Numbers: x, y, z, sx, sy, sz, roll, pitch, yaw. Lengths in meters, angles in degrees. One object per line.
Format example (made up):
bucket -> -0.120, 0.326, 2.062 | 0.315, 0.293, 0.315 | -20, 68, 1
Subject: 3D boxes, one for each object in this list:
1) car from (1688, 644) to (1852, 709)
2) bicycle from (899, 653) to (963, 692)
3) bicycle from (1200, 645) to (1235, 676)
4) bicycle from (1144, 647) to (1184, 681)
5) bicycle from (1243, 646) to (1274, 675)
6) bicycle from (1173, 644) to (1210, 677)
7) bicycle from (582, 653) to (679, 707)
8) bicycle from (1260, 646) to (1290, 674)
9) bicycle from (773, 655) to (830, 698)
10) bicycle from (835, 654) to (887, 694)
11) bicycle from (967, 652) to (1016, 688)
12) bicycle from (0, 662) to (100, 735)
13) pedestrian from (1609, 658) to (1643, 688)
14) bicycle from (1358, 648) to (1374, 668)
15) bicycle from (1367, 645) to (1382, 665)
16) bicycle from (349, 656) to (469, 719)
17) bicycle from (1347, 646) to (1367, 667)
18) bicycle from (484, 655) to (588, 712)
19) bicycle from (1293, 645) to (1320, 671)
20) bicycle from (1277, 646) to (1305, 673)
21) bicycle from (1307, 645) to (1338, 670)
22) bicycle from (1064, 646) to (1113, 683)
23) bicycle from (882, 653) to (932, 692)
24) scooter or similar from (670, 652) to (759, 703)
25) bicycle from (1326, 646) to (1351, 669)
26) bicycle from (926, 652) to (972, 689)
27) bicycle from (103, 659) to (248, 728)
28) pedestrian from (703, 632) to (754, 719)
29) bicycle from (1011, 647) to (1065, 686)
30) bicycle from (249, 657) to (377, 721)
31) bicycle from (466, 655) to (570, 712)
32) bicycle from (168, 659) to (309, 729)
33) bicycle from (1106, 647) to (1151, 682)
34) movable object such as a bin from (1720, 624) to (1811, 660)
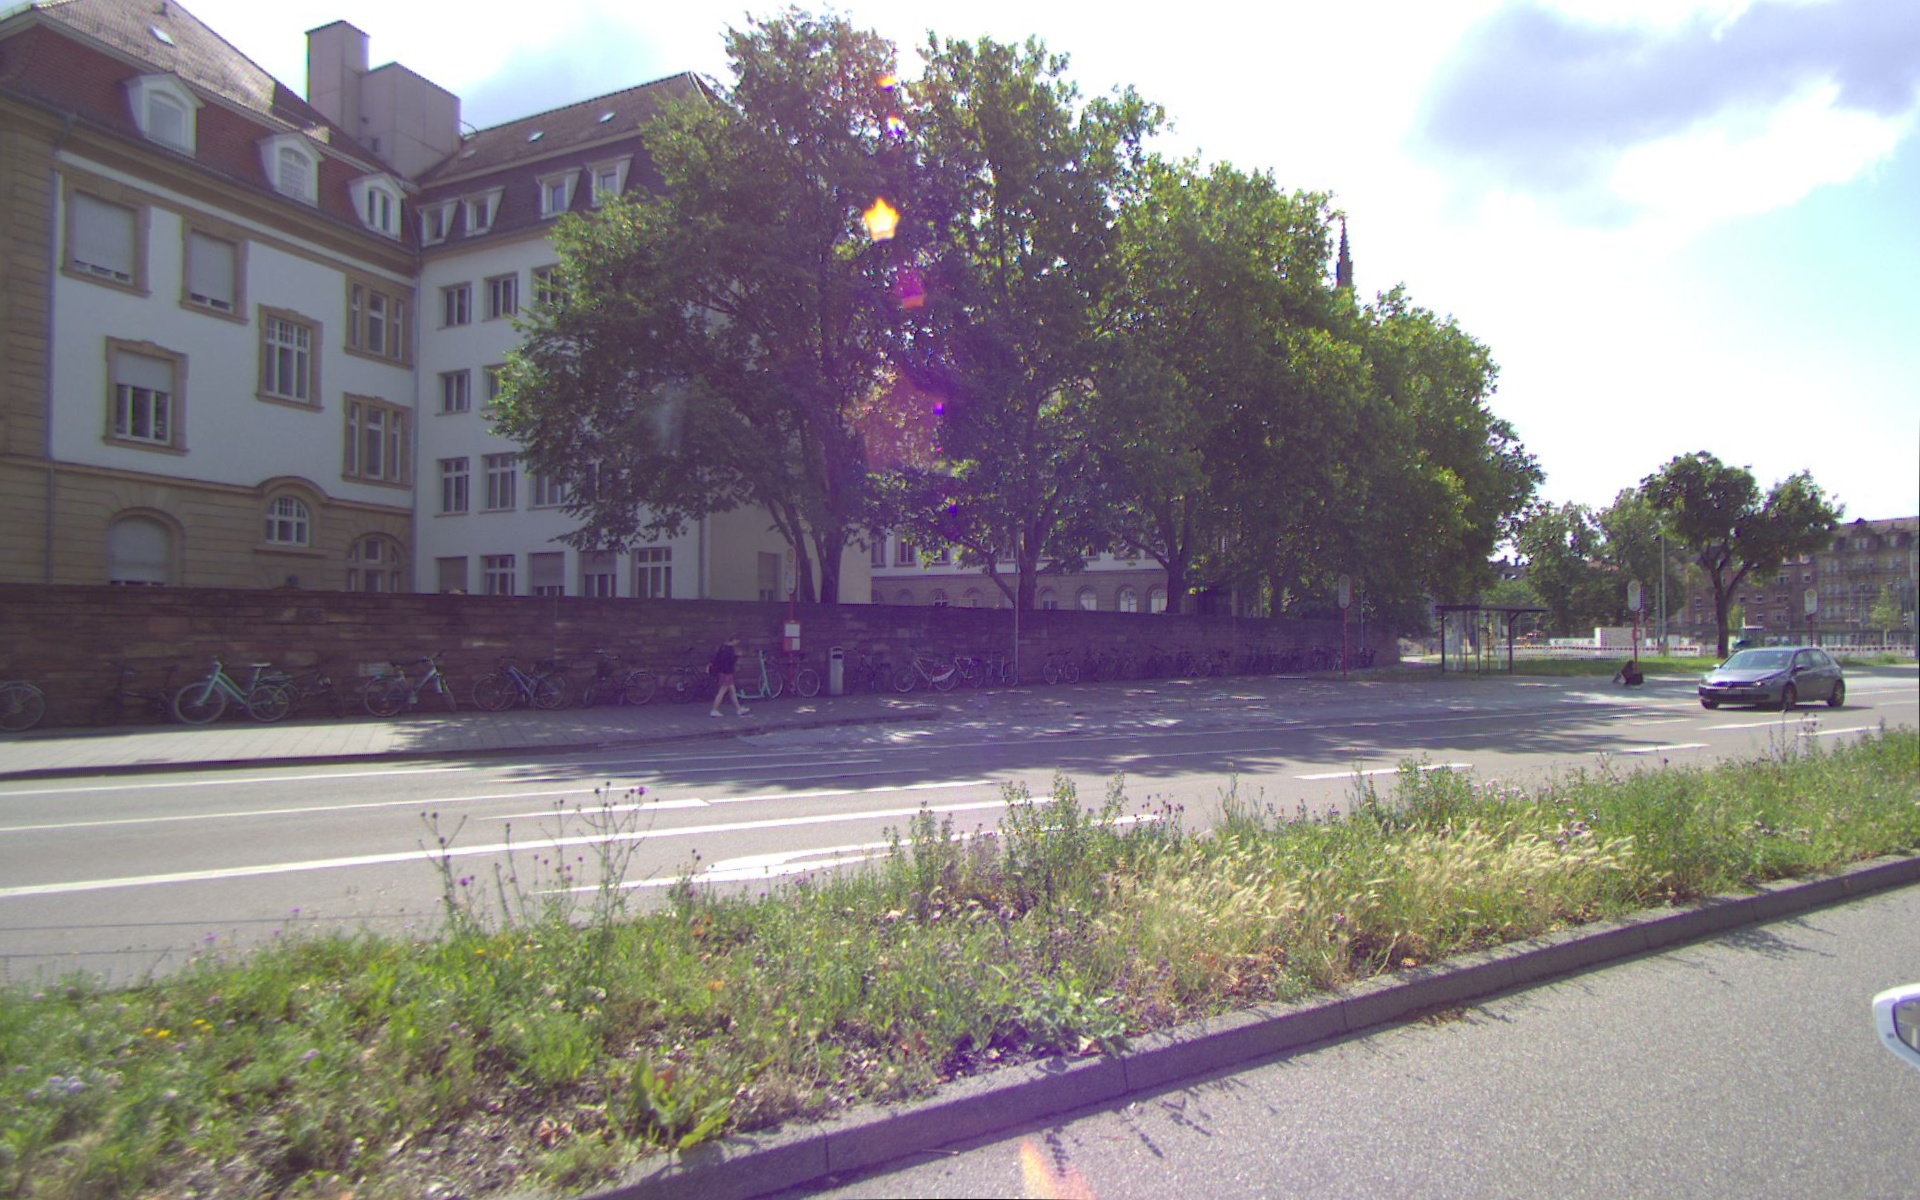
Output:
car -> 19.699, 1.811, 24.394 | 4.096, 1.463, 1.693 | 1, -3, -30
bicycle -> -0.737, 1.838, 25.625 | 1.600, 0.968, 0.366 | 1, -2, -21
bicycle -> 9.440, 2.206, 36.790 | 0.575, 1.087, 1.748 | -1, -2, 39
bicycle -> 6.901, 2.135, 33.885 | 0.575, 1.087, 1.748 | -1, -2, 39
bicycle -> 11.733, 2.376, 39.447 | 0.575, 1.087, 1.624 | -1, -2, 39
bicycle -> 8.138, 2.104, 35.266 | 0.575, 1.087, 1.748 | -1, -2, 39
bicycle -> -6.977, 1.679, 21.326 | 1.865, 1.062, 0.575 | 2, -2, -39
bicycle -> 12.791, 2.406, 40.745 | 0.575, 1.087, 1.624 | -1, -2, 39
bicycle -> -3.765, 1.804, 23.954 | 1.393, 0.968, 0.363 | 2, -2, -45
bicycle -> -2.470, 1.847, 25.216 | 1.393, 0.968, 0.363 | 2, -2, -45
bicycle -> 0.890, 1.944, 28.167 | 1.616, 0.968, 0.366 | 2, -2, -45
bicycle -> -14.488, 1.504, 15.446 | 1.865, 1.062, 0.560 | 2, -2, -39
pedestrian -> 22.439, 2.441, 33.854 | 0.734, 0.975, 0.691 | 1, -1, -30
bicycle -> 20.899, 2.986, 51.690 | 0.386, 1.024, 1.363 | -1, -2, 40
bicycle -> 21.826, 2.875, 52.912 | 0.348, 1.024, 1.249 | -1, -2, 40
bicycle -> -10.174, 1.592, 18.598 | 0.584, 1.062, 1.875 | -1, -2, 36
bicycle -> 19.873, 2.816, 50.268 | 0.465, 1.024, 1.449 | -1, -2, 40
bicycle -> -8.363, 1.635, 19.857 | 1.865, 1.062, 0.370 | 2, -2, -39
bicycle -> 15.050, 2.515, 43.612 | 0.575, 1.087, 1.624 | -1, -2, 39
bicycle -> 13.858, 2.475, 42.069 | 0.575, 1.087, 1.624 | -1, -2, 39
bicycle -> 16.288, 2.571, 45.104 | 0.576, 1.087, 1.859 | -1, -2, 44
bicycle -> 3.987, 1.991, 31.054 | 1.744, 1.087, 0.576 | 2, -2, -45
bicycle -> -1.370, 1.878, 26.156 | 1.393, 0.968, 0.363 | 2, -2, -45
scooter or similar -> -5.491, 1.719, 22.517 | 1.865, 1.062, 0.575 | 2, -2, -39
bicycle -> 17.828, 2.690, 47.277 | 0.465, 1.024, 1.955 | -1, -2, 40
bicycle -> -0.284, 1.890, 27.146 | 1.393, 0.968, 0.363 | 2, -2, -45
bicycle -> -12.977, 1.521, 16.674 | 1.865, 1.062, 0.367 | 2, -2, -39
pedestrian -> -4.487, 1.440, 19.471 | 0.737, 1.631, 0.651 | 1, -1, -37
bicycle -> 2.301, 1.922, 29.347 | 1.744, 1.087, 0.576 | 2, -2, -45
bicycle -> -11.477, 1.562, 17.858 | 1.865, 1.062, 0.367 | 2, -2, -39
bicycle -> -8.794, 1.644, 20.033 | 1.865, 1.062, 0.391 | 2, -2, -39
bicycle -> -11.993, 1.534, 16.742 | 1.865, 1.062, 0.587 | 2, -2, -39
bicycle -> 5.479, 2.066, 32.577 | 0.576, 1.087, 1.745 | -1, -2, 44
movable object such as a bin -> 67.156, 3.459, 83.871 | 5.431, 2.922, 2.289 | 0, -2, 15
